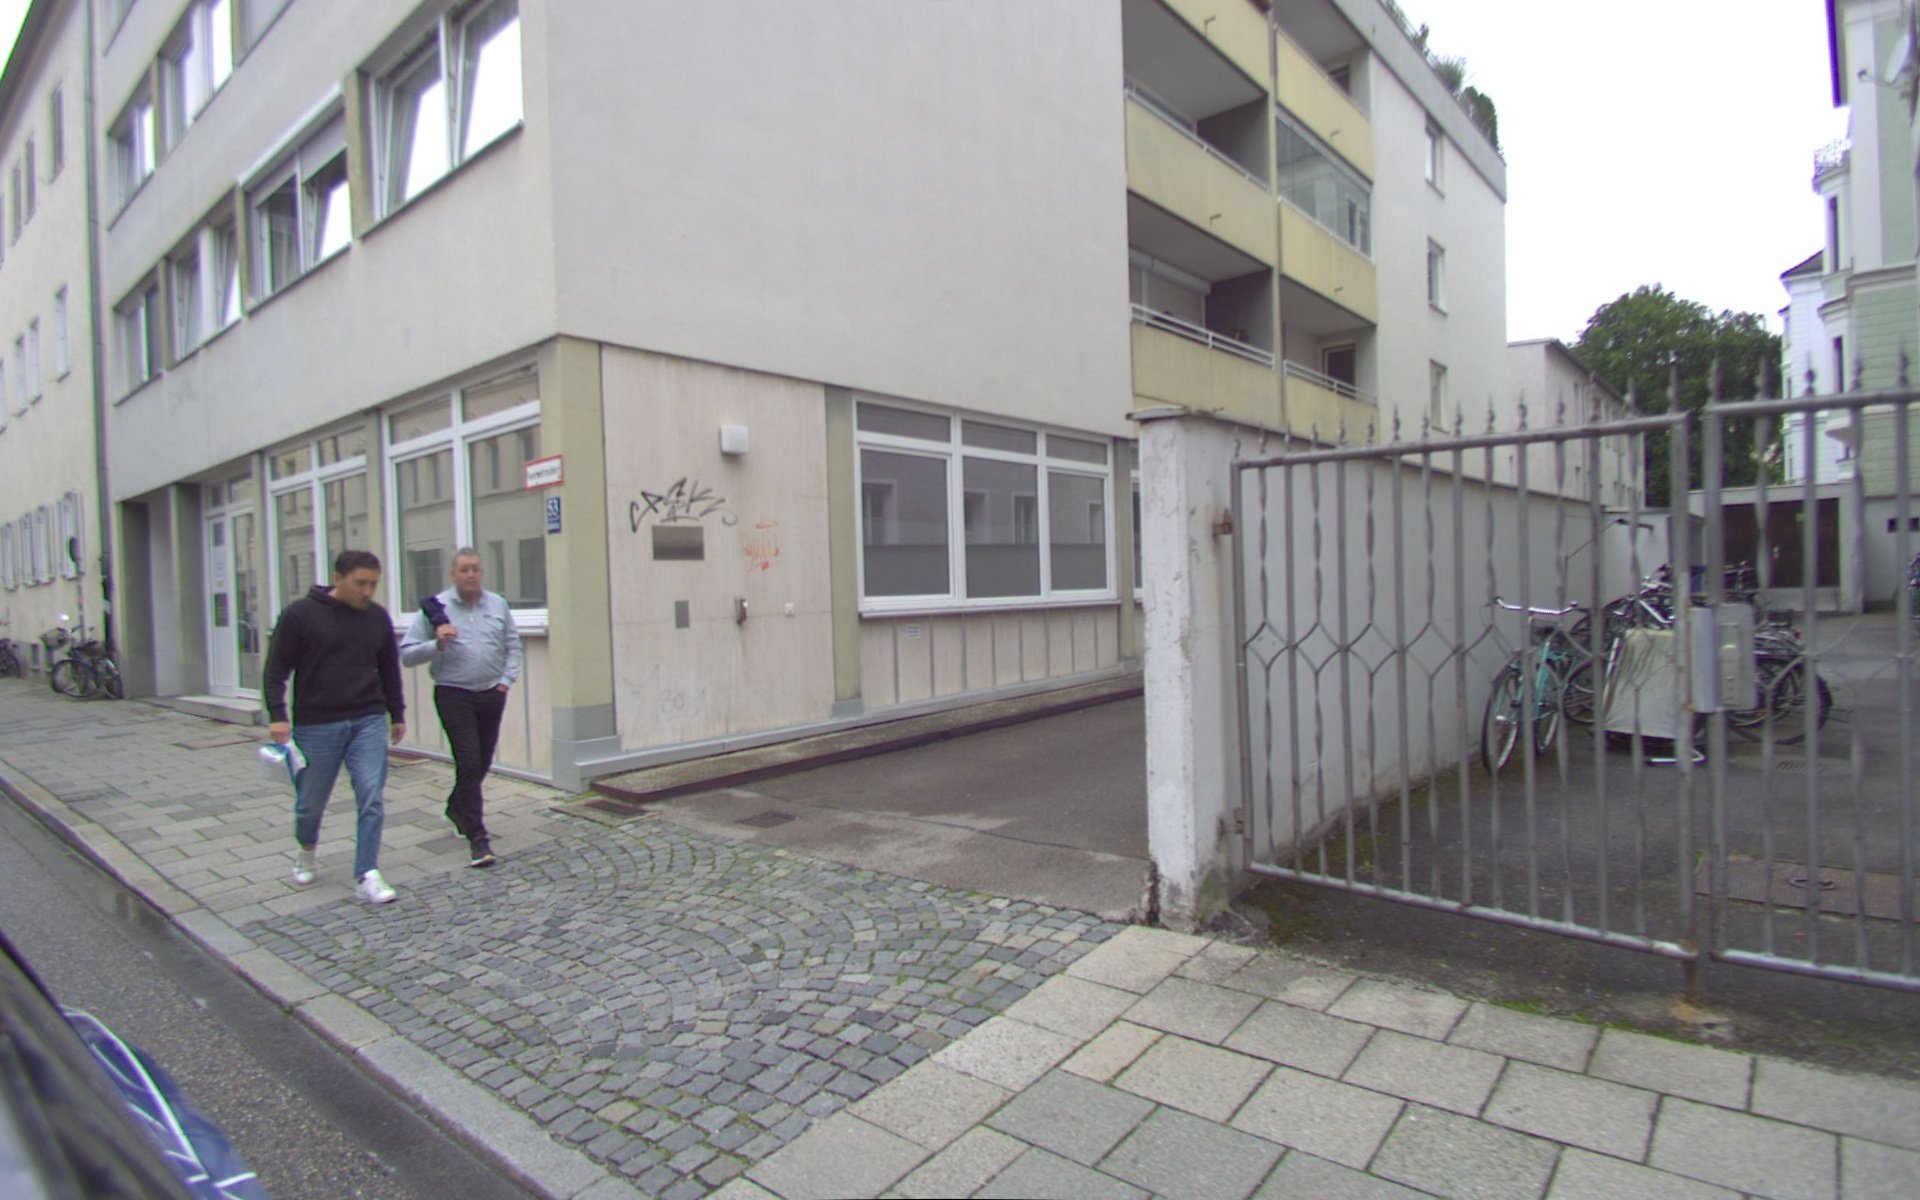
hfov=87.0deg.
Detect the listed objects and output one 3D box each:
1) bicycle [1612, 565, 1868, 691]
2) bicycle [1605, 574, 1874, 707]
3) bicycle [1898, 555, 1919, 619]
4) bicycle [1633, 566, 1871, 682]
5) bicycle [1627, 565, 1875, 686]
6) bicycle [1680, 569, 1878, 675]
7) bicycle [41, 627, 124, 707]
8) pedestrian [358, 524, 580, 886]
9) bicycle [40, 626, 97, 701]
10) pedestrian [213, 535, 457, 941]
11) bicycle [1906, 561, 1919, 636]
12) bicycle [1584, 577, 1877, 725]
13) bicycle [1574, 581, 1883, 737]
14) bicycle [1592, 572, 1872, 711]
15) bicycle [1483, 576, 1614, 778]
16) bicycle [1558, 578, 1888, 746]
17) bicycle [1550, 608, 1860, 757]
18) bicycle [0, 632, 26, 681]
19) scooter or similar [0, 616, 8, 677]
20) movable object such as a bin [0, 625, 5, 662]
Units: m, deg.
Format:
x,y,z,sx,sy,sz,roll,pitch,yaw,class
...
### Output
x,y,z,sx,sy,sz,roll,pitch,yaw,class
7.777,0.265,10.193,1.987,1.168,0.484,-1,1,39,bicycle
7.421,0.364,9.739,1.987,1.168,0.522,-1,1,39,bicycle
16.687,-0.237,17.325,0.527,1.076,1.997,-1,1,31,bicycle
8.551,0.248,11.021,1.987,1.168,0.522,-1,1,39,bicycle
8.198,0.254,10.583,1.987,1.168,0.522,-1,1,39,bicycle
9.275,0.259,11.531,1.694,1.133,0.512,-2,-2,40,bicycle
-13.767,1.026,15.864,1.717,1.168,0.557,-1,1,35,bicycle
-2.721,0.514,5.610,0.916,1.810,0.711,-1,2,41,pedestrian
-15.018,1.046,17.041,1.604,1.168,0.453,-1,3,42,bicycle
-3.063,0.594,4.966,0.837,1.778,0.711,-1,2,41,pedestrian
13.780,-0.016,14.053,0.527,1.076,1.997,-1,1,31,bicycle
6.673,0.416,8.874,1.987,1.168,0.476,-1,1,39,bicycle
6.319,0.452,8.443,1.987,1.168,0.522,-1,1,39,bicycle
7.022,0.356,9.316,1.987,1.168,0.522,-1,1,39,bicycle
4.065,0.442,6.921,0.528,1.168,1.993,-1,1,37,bicycle
5.862,0.444,7.904,1.987,1.168,0.522,-1,1,39,bicycle
5.455,0.565,7.507,1.796,0.983,0.444,-1,0,41,bicycle
-21.283,1.247,22.230,1.819,0.991,0.697,-1,5,36,bicycle
-22.455,1.078,23.532,1.238,1.386,0.314,-1,0,40,scooter or similar
-28.303,1.133,29.052,1.161,1.452,1.250,-9,4,-44,movable object such as a bin
